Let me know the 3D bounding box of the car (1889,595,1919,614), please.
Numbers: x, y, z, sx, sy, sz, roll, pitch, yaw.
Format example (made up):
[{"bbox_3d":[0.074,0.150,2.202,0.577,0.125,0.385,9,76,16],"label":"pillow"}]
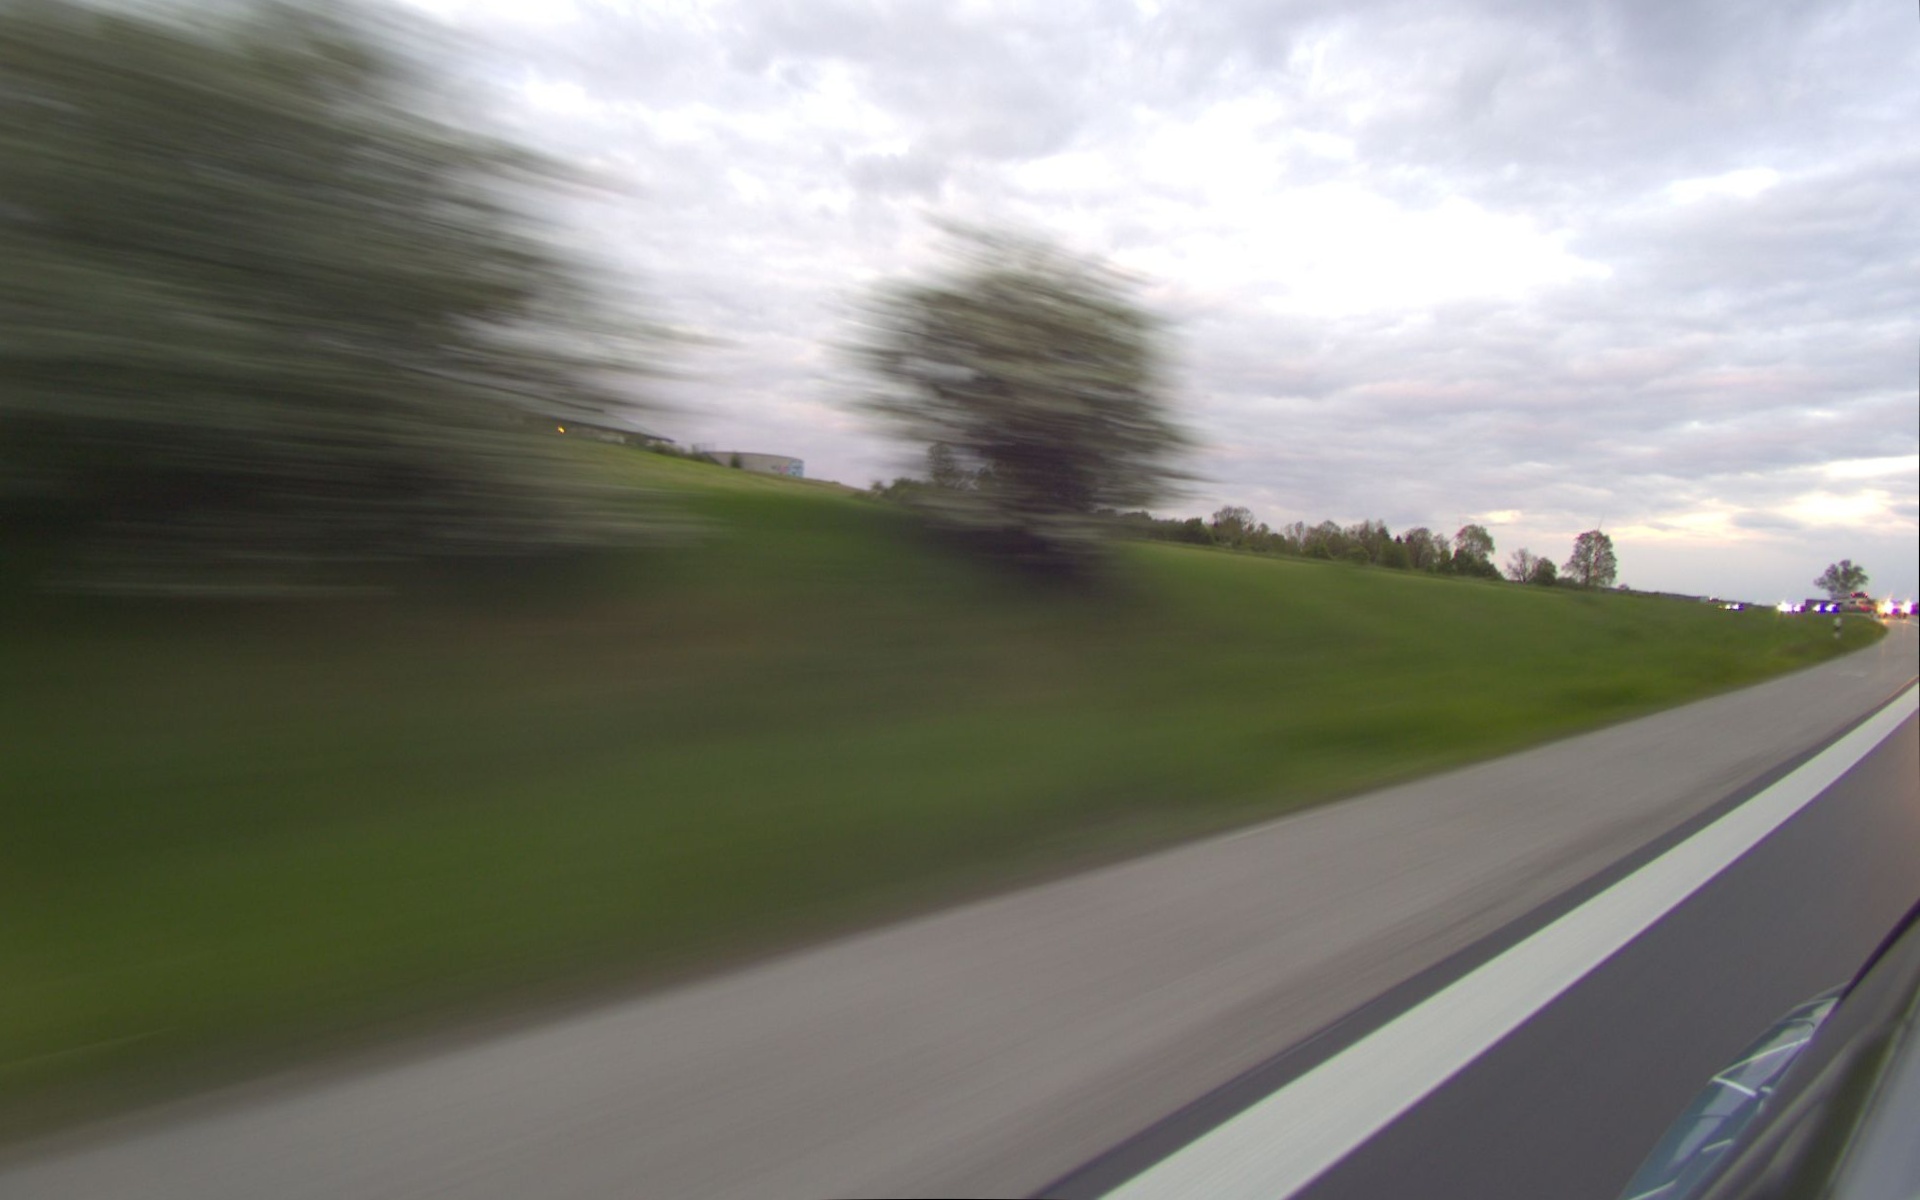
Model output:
[{"bbox_3d":[96.367,0.472,103.388,1.912,1.860,3.943,3,2,39],"label":"car"}]

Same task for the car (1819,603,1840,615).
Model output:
[{"bbox_3d":[135.658,1.419,157.885,1.789,1.665,4.048,1,1,31],"label":"car"}]

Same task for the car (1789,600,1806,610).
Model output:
[{"bbox_3d":[147.580,0.878,178.312,1.790,1.665,4.046,1,1,33],"label":"car"}]
